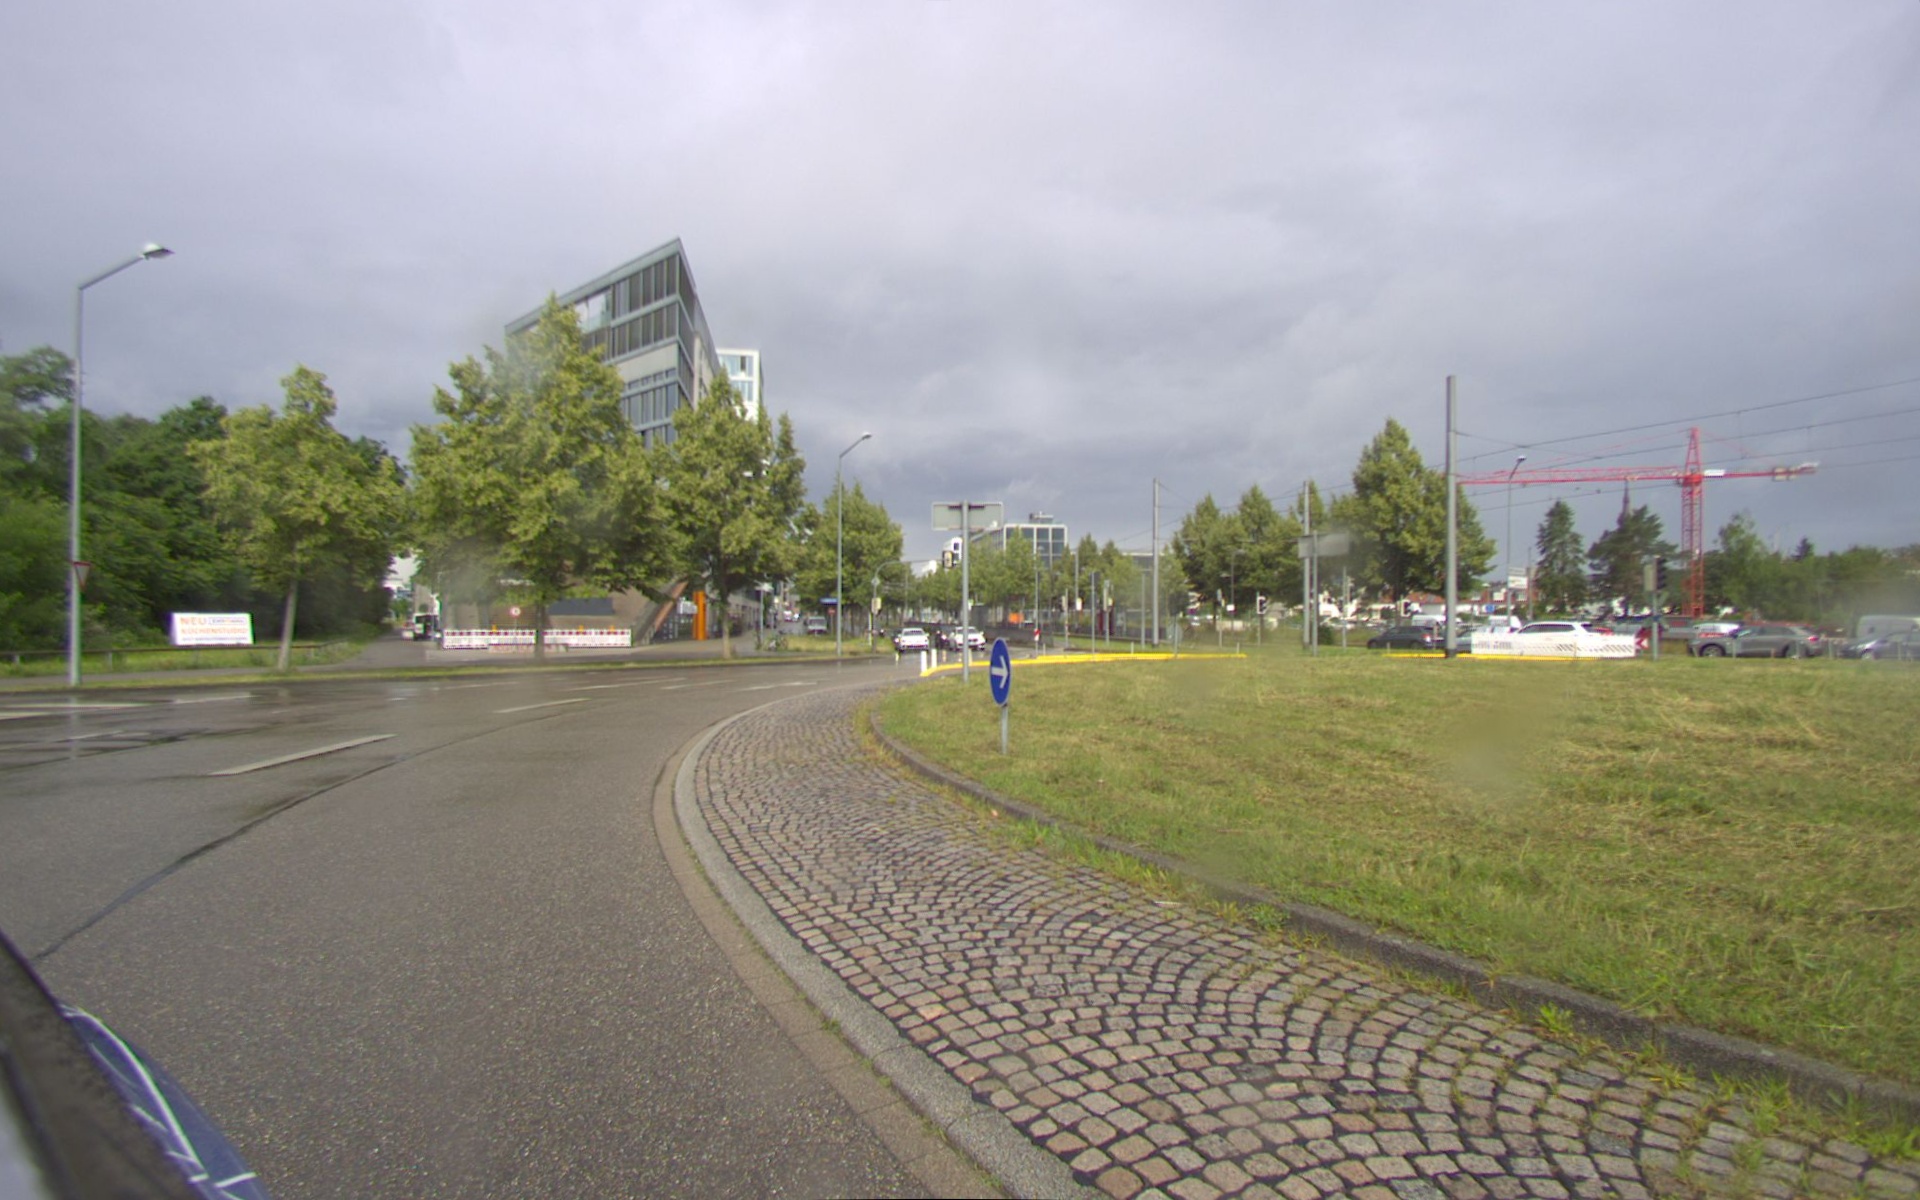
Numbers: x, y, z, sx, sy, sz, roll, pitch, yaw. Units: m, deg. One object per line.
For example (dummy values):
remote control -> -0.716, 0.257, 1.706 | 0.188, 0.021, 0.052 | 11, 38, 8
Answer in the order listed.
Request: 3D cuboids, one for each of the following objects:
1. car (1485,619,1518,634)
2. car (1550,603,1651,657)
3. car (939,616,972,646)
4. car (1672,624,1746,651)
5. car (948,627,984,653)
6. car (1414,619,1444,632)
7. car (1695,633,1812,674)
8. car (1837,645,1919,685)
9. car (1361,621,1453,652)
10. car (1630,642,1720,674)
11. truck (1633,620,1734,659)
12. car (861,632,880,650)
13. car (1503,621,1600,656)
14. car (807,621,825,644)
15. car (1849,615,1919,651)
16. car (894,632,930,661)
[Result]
car -> 64.588, 3.145, 120.844 | 1.475, 1.736, 3.608 | 0, -2, -11
car -> 31.759, 1.481, 50.203 | 3.999, 2.587, 1.773 | -1, -2, 42
car -> -0.333, 2.156, 70.726 | 1.970, 2.029, 4.004 | 0, -1, -5
car -> 52.533, 2.610, 71.087 | 1.828, 1.713, 4.008 | 1, 1, -9
car -> 0.354, 2.426, 62.097 | 1.700, 1.519, 3.910 | 0, -2, -7
car -> 56.765, 3.116, 122.547 | 1.525, 1.572, 3.506 | 0, -1, -8
car -> 32.196, 2.140, 41.183 | 3.672, 1.572, 1.554 | -1, -1, 38
car -> 39.388, 2.689, 42.089 | 3.967, 1.597, 1.787 | 0, -1, 18
car -> 23.012, 1.870, 52.226 | 1.772, 1.529, 4.011 | 1, -2, -33
car -> 41.352, 3.322, 58.537 | 4.001, 1.697, 1.971 | -1, -2, 44
truck -> 48.484, 2.594, 68.061 | 2.364, 2.228, 6.101 | 1, 1, 0
car -> -9.261, 4.267, 104.274 | 1.837, 1.758, 4.092 | 0, -3, -7
car -> 26.920, 1.739, 46.150 | 1.476, 1.522, 3.507 | 0, -1, -39
car -> -15.222, 3.456, 107.071 | 1.837, 2.377, 4.477 | 0, -3, -7
car -> 62.231, 2.170, 66.405 | 2.013, 2.101, 6.269 | 1, 1, -2
car -> -3.001, 2.875, 62.499 | 1.837, 1.685, 4.477 | 0, -3, -7
